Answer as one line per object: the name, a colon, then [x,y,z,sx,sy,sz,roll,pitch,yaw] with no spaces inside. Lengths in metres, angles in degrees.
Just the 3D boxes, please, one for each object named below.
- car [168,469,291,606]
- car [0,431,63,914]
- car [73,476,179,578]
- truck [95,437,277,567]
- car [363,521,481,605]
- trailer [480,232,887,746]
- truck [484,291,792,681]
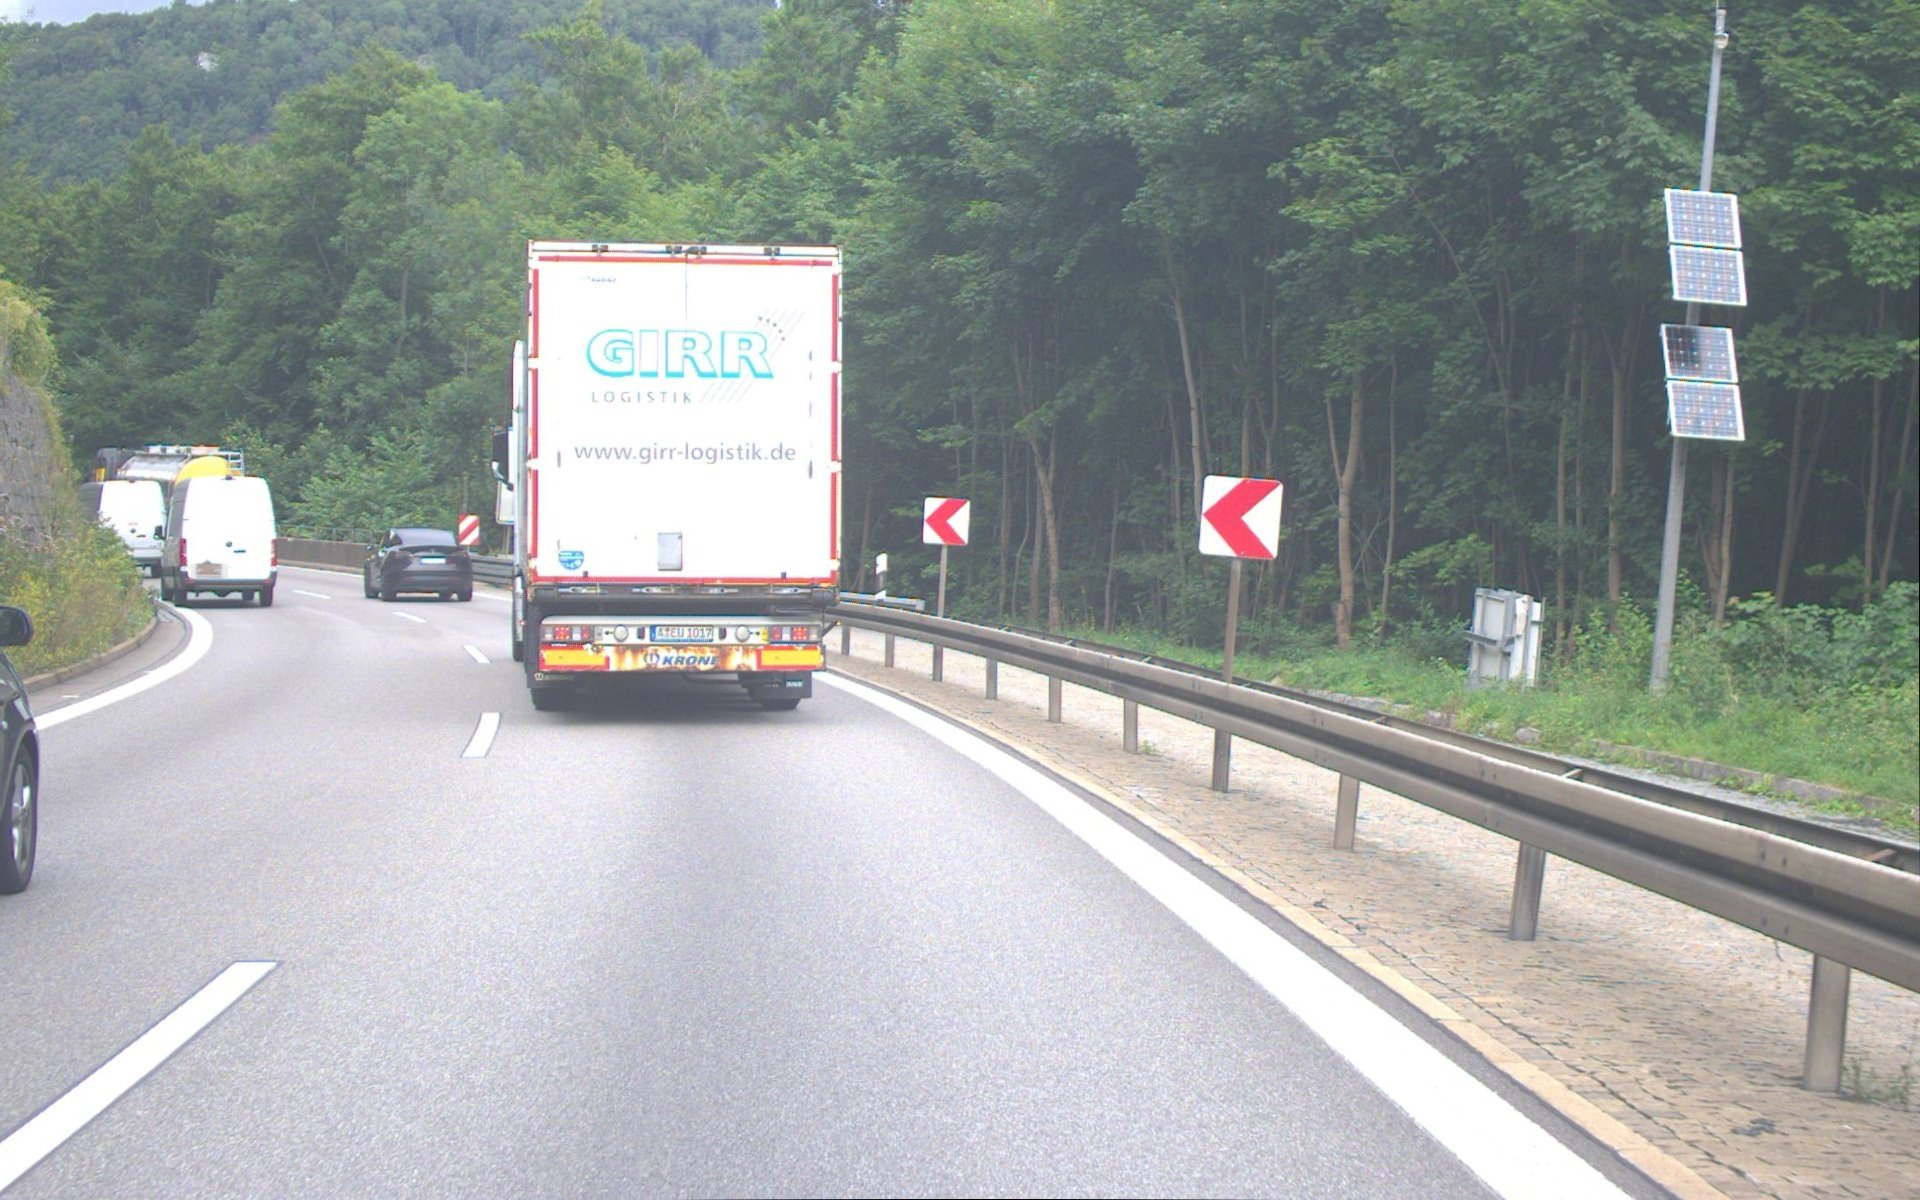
car: [-15.475,-1.353,72.542,1.988,2.663,6.939,2,1,-16]
car: [-4.869,0.323,12.831,1.993,2.007,5.541,0,1,-5]
car: [-23.227,-2.057,95.584,1.939,2.663,5.993,2,1,-22]
truck: [-25.361,-3.222,111.979,3.057,3.972,13.702,-1,2,-24]
car: [-11.771,-0.827,75.031,1.993,1.656,4.001,2,1,-16]
trailer: [-3.011,-1.153,33.660,3.057,3.972,12.140,3,2,-8]
truck: [-3.880,-1.365,40.034,3.057,3.972,7.189,3,2,-8]
